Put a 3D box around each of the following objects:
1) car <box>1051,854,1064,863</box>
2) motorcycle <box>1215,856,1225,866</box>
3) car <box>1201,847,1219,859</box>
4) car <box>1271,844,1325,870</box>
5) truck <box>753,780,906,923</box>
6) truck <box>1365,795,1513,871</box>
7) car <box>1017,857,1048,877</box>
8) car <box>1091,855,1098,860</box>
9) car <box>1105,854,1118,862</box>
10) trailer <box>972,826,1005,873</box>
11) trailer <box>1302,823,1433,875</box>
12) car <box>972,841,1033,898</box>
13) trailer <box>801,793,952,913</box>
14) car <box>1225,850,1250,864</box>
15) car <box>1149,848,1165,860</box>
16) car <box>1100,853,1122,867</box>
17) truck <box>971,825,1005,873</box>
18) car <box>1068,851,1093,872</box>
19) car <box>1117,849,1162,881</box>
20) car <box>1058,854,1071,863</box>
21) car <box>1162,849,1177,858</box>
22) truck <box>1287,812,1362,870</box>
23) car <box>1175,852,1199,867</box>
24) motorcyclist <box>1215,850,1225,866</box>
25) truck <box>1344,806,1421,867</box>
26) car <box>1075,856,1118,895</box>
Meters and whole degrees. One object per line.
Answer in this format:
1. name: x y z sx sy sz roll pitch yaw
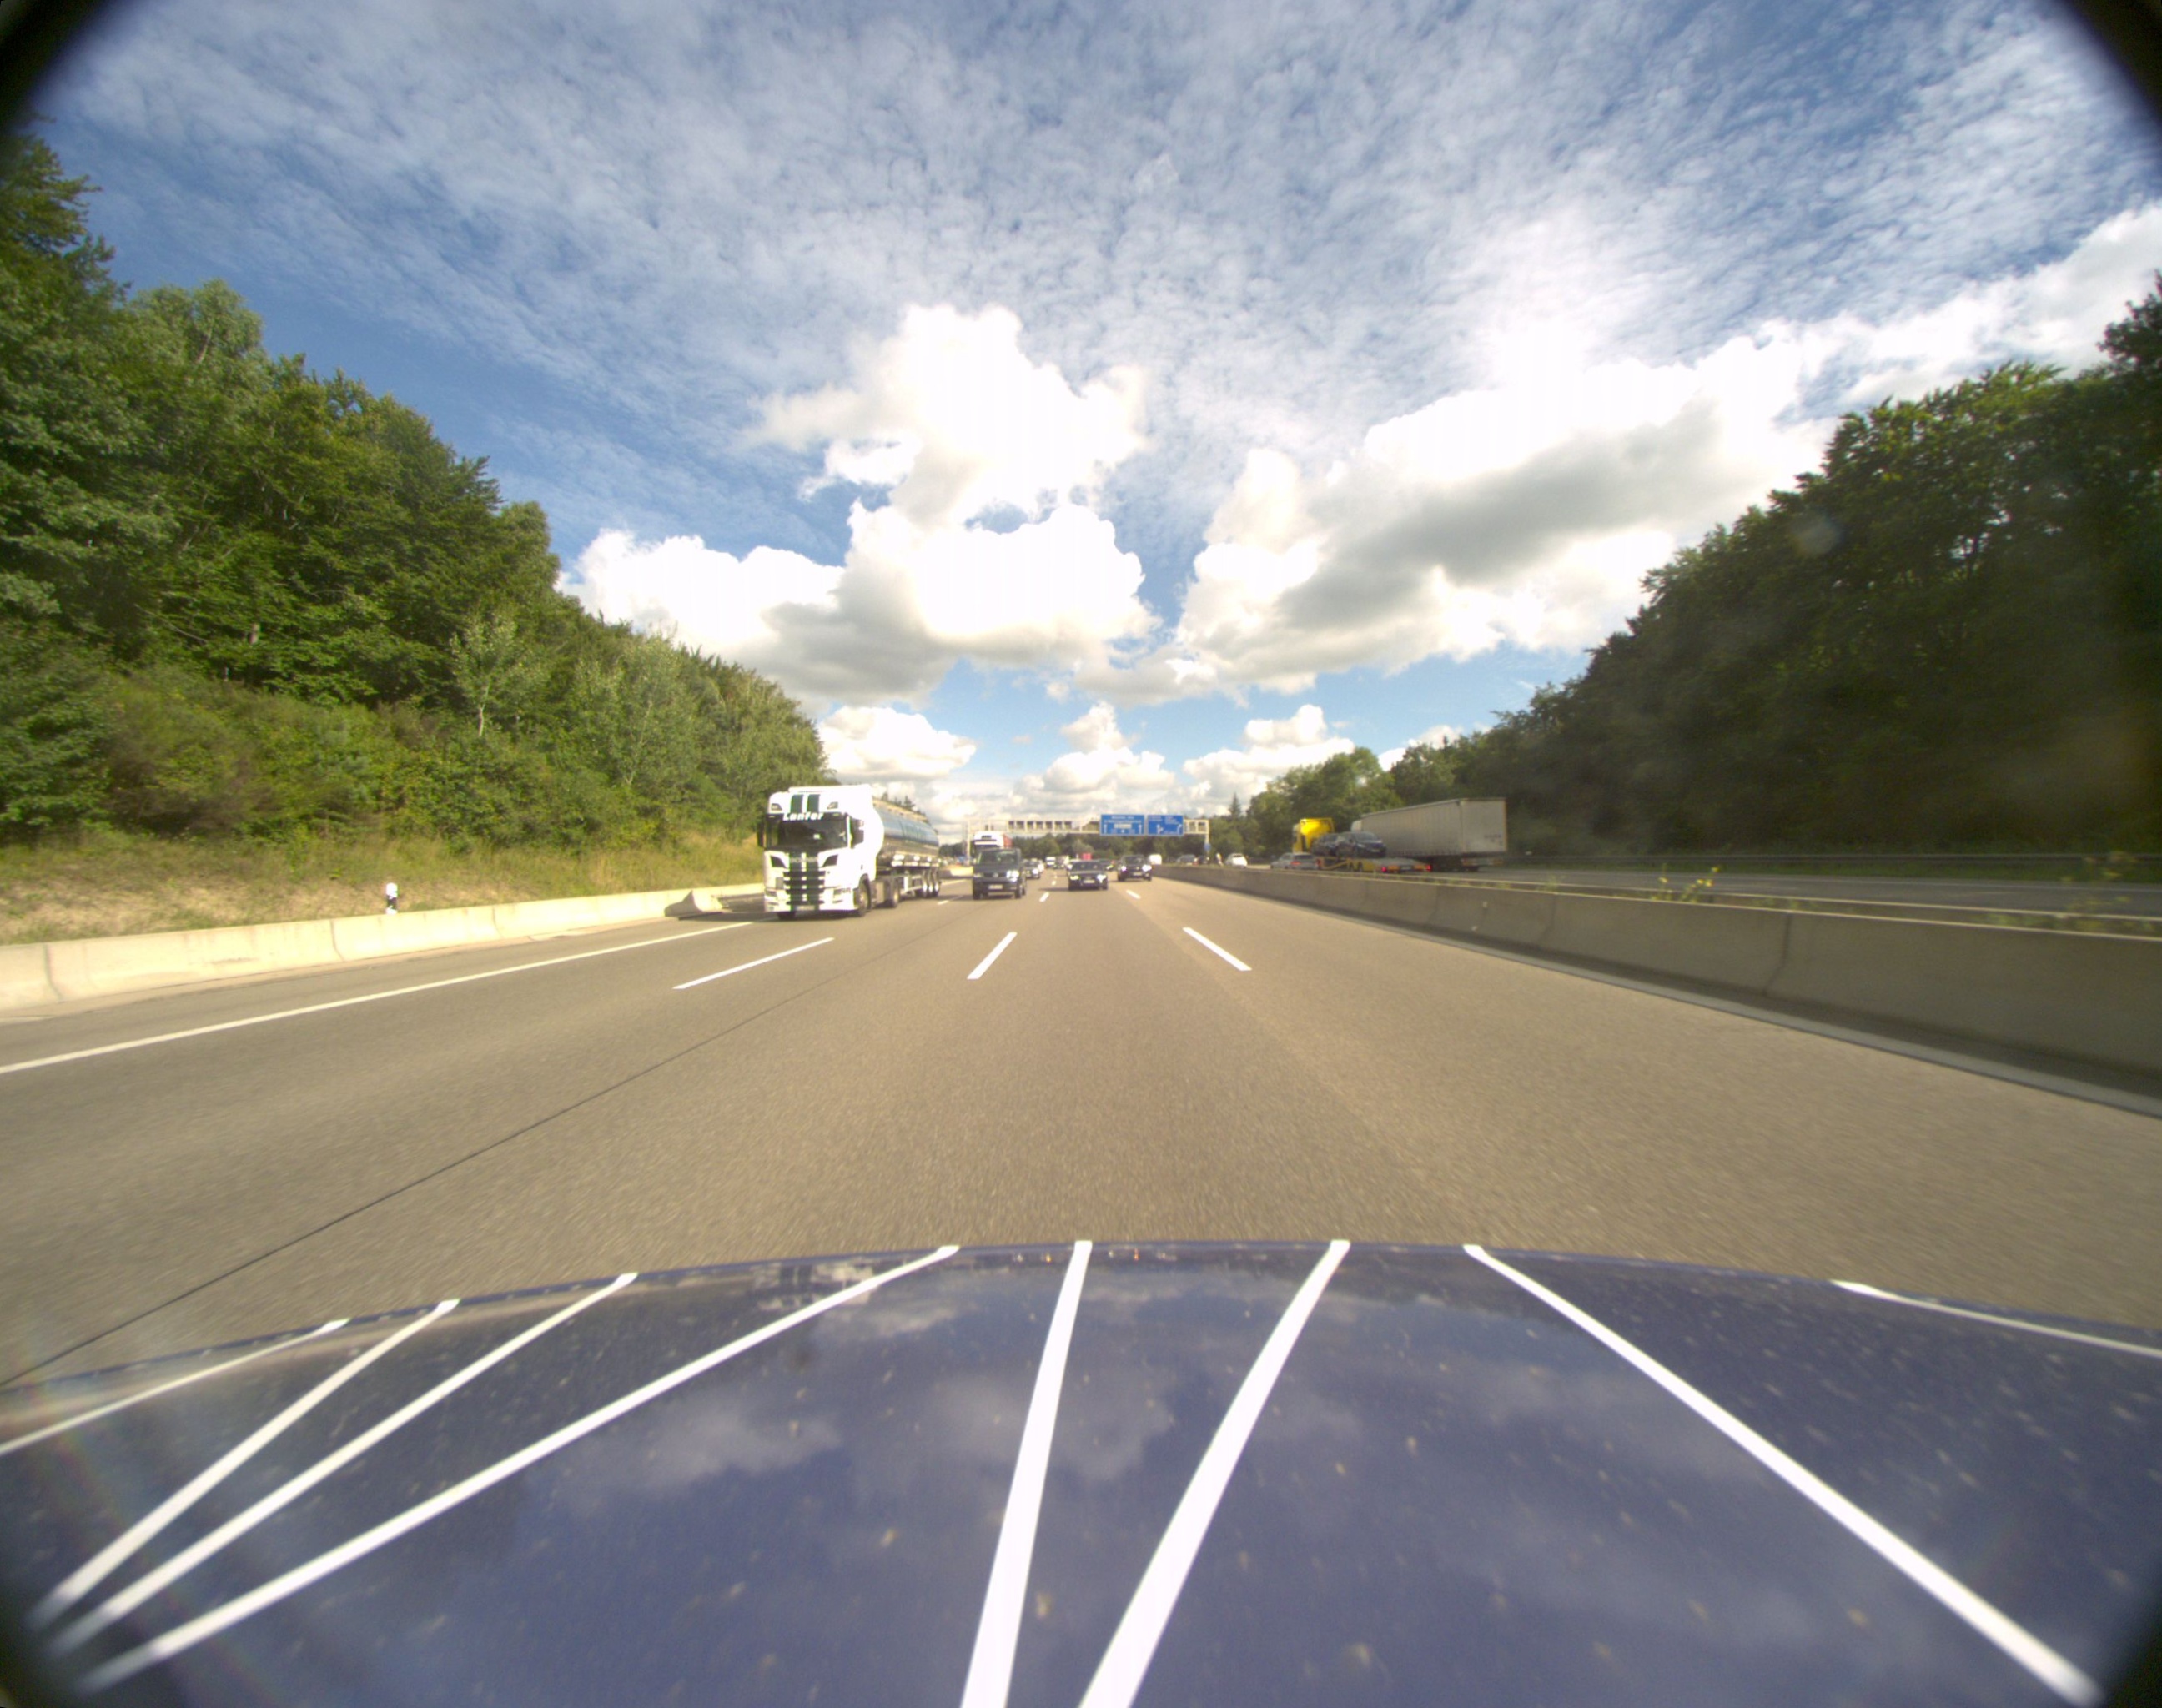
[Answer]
1. car: -5.120 1.025 164.098 2.154 1.807 4.673 -2 1 -9
2. motorcycle: 13.467 0.666 73.579 0.483 0.950 2.251 -2 0 -1
3. car: 19.645 -0.183 115.929 1.998 1.677 4.198 -2 0 1
4. car: 13.502 0.180 47.681 1.998 1.477 4.983 -2 0 1
5. truck: -7.479 -0.049 23.528 2.655 3.800 6.082 -1 0 0
6. truck: 21.871 -1.159 47.738 2.714 4.045 13.085 -2 0 -2
7. car: -3.794 1.011 60.559 2.153 1.426 5.098 -2 0 0
8. car: 4.218 1.092 236.847 1.999 1.493 4.572 -2 0 -3
9. car: 5.691 0.705 141.724 1.999 1.382 4.747 -2 0 -3
10. trailer: -8.810 -0.330 73.799 2.782 4.021 13.707 -2 0 -6
11. trailer: 17.337 -0.269 47.473 2.784 2.704 13.309 -2 0 -2
12. car: -3.140 0.572 31.237 1.853 2.097 4.932 -2 0 1
13. trailer: -7.470 0.022 29.925 2.655 3.745 11.860 -1 0 0
14. car: 16.801 0.316 81.824 1.852 1.489 4.129 -2 0 0
15. car: 11.692 0.013 117.611 1.998 1.826 4.729 -2 0 1
16. car: 3.339 0.645 85.233 2.153 1.540 4.677 -2 0 0
17. truck: -8.172 -0.380 67.246 2.782 4.021 5.770 -2 0 -6
18. car: -0.093 0.643 69.766 2.153 1.800 5.098 -2 0 -2
19. car: 3.552 0.630 47.092 2.153 1.800 5.098 -2 0 -2
20. car: -2.867 0.791 132.066 2.153 1.540 4.677 -2 0 0
21. car: 17.161 -0.059 147.914 2.077 1.729 4.669 -2 0 -3
22. truck: 17.133 -0.865 54.043 2.784 3.788 7.132 -2 0 -2
23. car: 9.671 0.478 69.665 1.688 1.299 4.198 -2 0 1
24. motorcyclist: 13.443 0.385 73.559 0.756 1.468 1.075 -2 0 -2
25. truck: 21.665 -1.183 55.062 2.714 4.045 6.596 -2 0 -2
26. car: 0.625 0.896 33.893 1.733 1.501 4.727 -2 0 0
